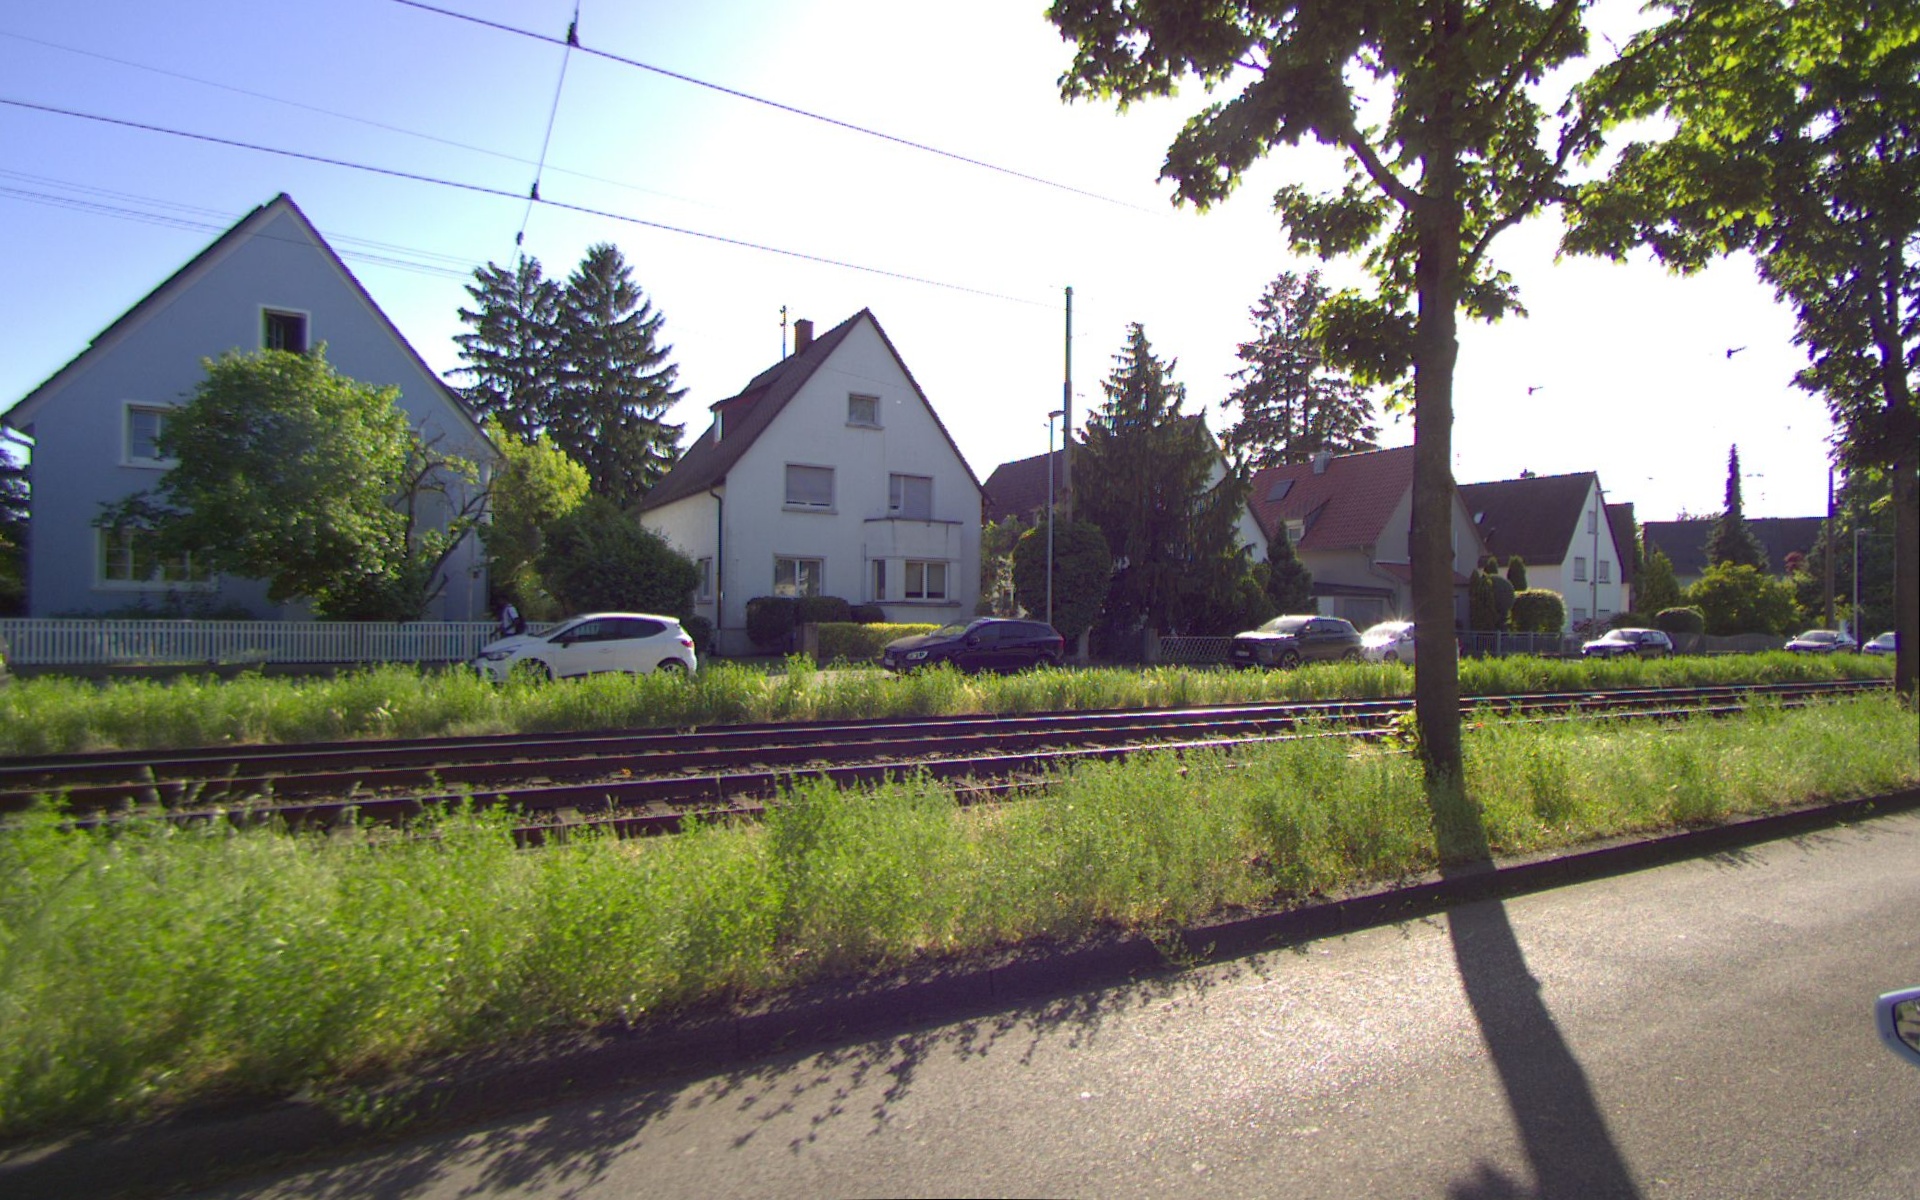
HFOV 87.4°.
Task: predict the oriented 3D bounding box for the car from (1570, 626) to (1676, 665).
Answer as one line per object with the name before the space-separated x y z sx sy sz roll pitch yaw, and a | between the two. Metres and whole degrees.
car | 26.165 1.790 39.594 4.179 1.388 1.850 2 0 -31

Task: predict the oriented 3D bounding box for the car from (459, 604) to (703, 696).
car | -7.326 0.937 19.499 4.179 1.562 1.850 2 0 -31

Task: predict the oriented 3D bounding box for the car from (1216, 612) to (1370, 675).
car | 9.775 1.262 29.398 4.503 1.673 1.739 2 0 -31

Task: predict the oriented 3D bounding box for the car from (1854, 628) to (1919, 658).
car | 50.058 2.315 53.890 4.411 1.450 1.850 2 0 -31

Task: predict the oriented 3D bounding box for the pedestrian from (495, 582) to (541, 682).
pedestrian | -9.250 0.662 21.027 0.763 2.040 0.677 1 1 -31

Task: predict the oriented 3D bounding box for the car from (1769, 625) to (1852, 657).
car | 41.424 1.979 48.907 4.110 1.432 1.850 2 0 -31

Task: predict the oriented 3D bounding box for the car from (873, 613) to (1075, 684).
car | 0.374 1.131 23.866 4.550 1.485 1.720 2 0 -31

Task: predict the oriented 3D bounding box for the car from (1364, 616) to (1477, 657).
car | 19.103 1.481 41.831 1.866 1.472 3.899 0 2 -30

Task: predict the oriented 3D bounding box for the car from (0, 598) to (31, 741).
car | -12.861 0.728 10.186 4.755 1.573 1.652 2 0 -31

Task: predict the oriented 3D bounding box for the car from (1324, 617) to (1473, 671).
car | 14.213 1.402 32.486 4.724 1.566 1.984 2 0 -30
